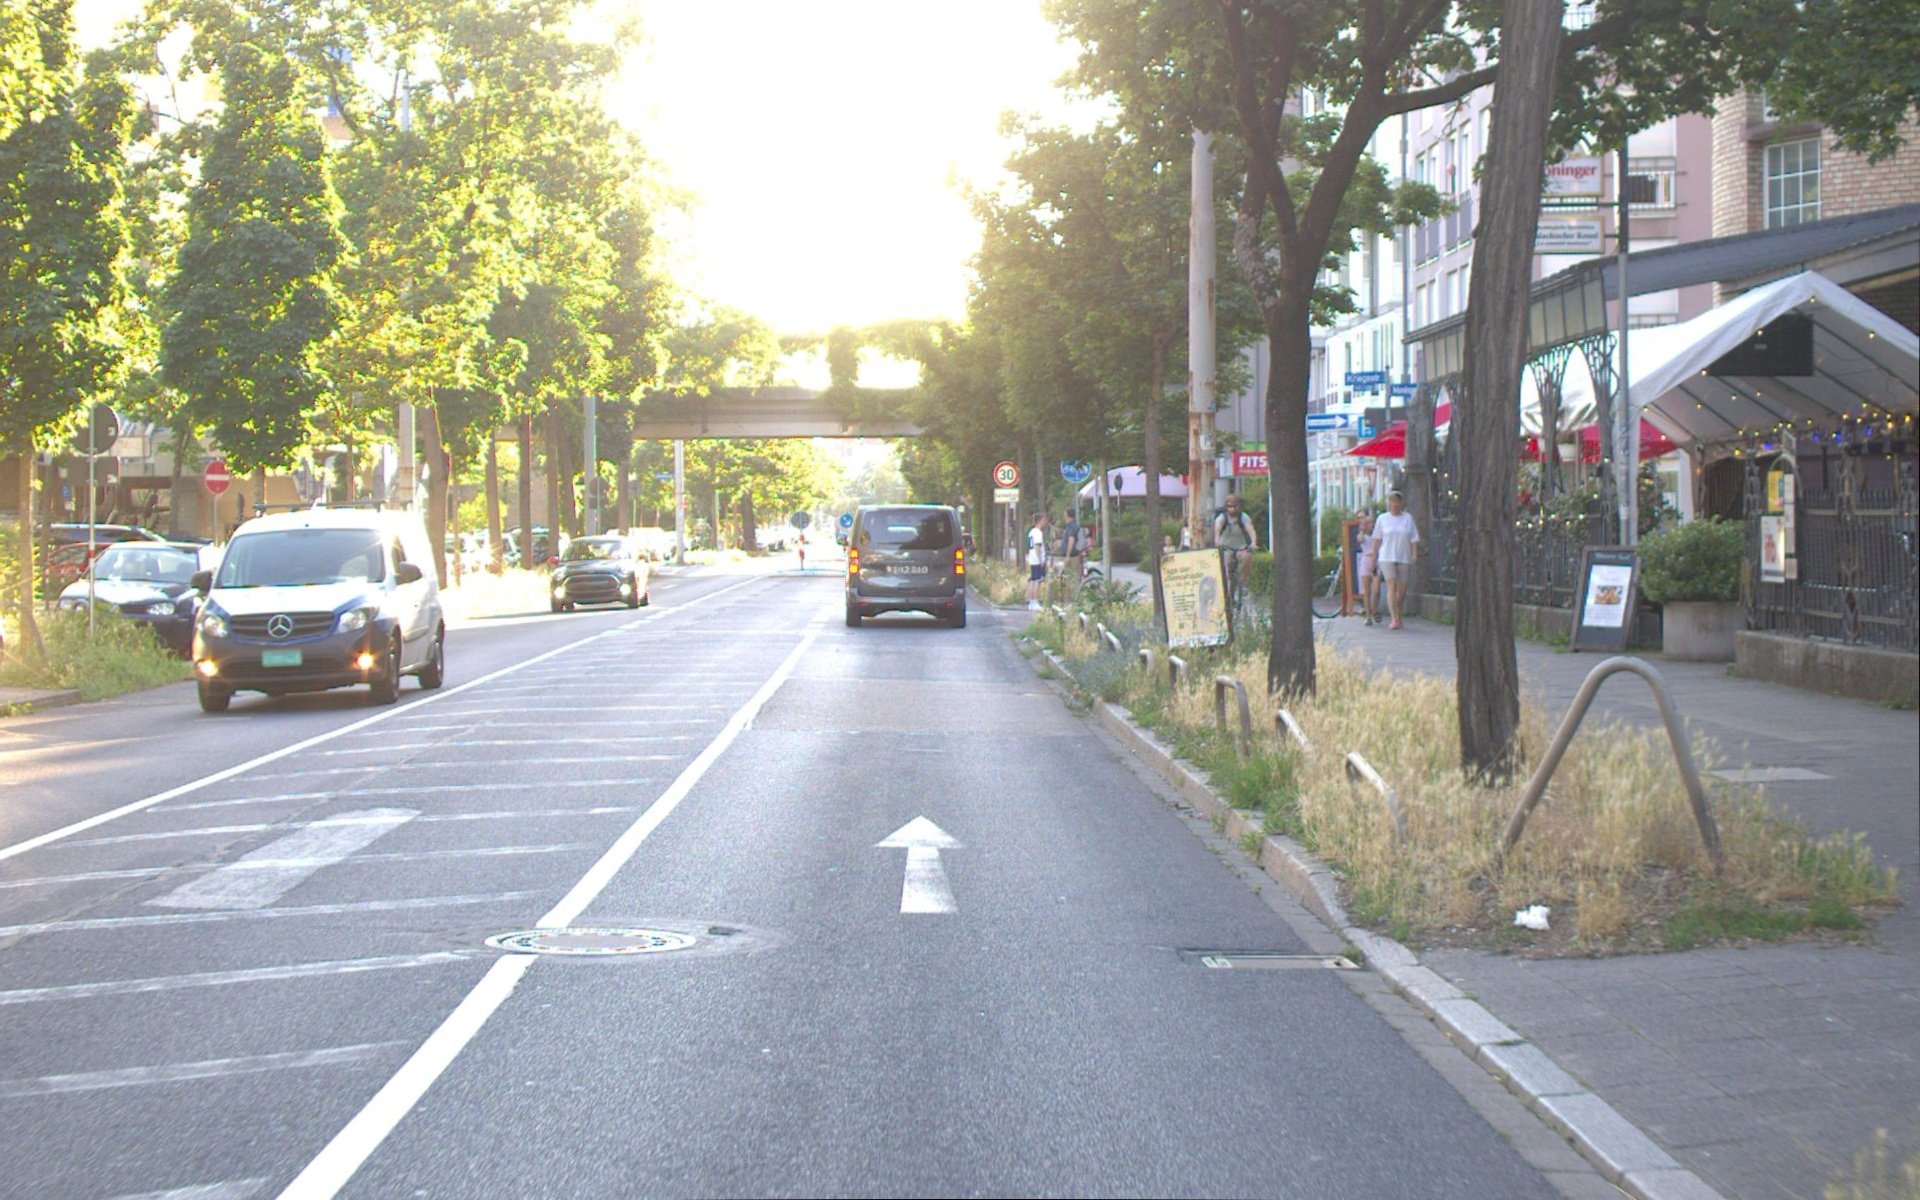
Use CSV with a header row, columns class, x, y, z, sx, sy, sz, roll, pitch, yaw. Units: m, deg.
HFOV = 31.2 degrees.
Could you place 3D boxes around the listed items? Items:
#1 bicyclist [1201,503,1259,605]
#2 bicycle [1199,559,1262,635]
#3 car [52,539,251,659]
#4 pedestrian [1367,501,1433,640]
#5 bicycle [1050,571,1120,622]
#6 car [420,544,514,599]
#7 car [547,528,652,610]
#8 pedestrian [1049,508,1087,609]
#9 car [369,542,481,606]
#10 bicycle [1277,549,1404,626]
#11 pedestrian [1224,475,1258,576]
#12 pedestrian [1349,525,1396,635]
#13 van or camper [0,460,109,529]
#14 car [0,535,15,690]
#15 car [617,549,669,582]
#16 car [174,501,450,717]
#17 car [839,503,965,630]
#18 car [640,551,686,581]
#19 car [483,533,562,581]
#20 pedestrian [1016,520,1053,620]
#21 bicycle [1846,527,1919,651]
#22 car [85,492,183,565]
class,x,y,z,sx,sy,sz,roll,pitch,yaw
bicyclist,3.358,-0.577,42.826,0.585,1.232,1.112,2,1,-1
bicycle,3.353,-0.044,42.718,0.579,0.894,1.987,2,1,-1
car,-10.069,-0.046,43.058,1.638,1.381,4.000,2,1,-2
pedestrian,5.277,-0.357,41.254,0.644,1.627,0.656,2,1,-1
bicycle,2.364,-0.073,65.446,0.588,0.894,1.988,2,1,-20
car,-13.562,-0.814,94.756,1.993,1.409,4.237,2,1,-1
car,-7.091,-0.626,67.890,1.679,1.525,4.000,-2,1,-1
pedestrian,2.026,-0.783,64.628,0.504,1.882,0.545,2,1,-16
car,-12.618,-0.641,81.339,1.993,1.409,4.237,2,1,-1
bicycle,6.334,-0.210,57.224,1.980,1.222,0.548,2,1,-7
pedestrian,7.151,-1.889,87.473,0.715,2.530,0.824,2,1,-1
pedestrian,5.124,-0.246,42.718,0.467,1.346,0.530,2,1,-1
van or camper,-36.252,-4.091,131.841,6.562,2.513,2.450,2,1,-2
car,-9.792,0.123,30.678,1.696,1.446,4.000,2,1,-2
car,-14.395,-1.580,156.243,1.993,1.409,4.237,2,1,-1
car,-5.961,0.038,32.120,1.833,1.846,4.474,-1,1,-2
car,-0.885,-0.555,54.102,1.887,1.918,3.839,0,1,0
car,-15.069,-1.738,174.470,1.993,1.409,4.237,2,1,-1
car,-13.802,-1.376,108.688,1.993,1.409,4.237,2,1,-1
pedestrian,1.409,-0.572,65.048,0.504,1.882,0.545,2,1,-16
bicycle,7.716,-0.074,26.807,1.445,0.943,0.534,2,1,0
car,-27.375,-2.354,114.069,1.993,2.300,5.245,2,1,-1
